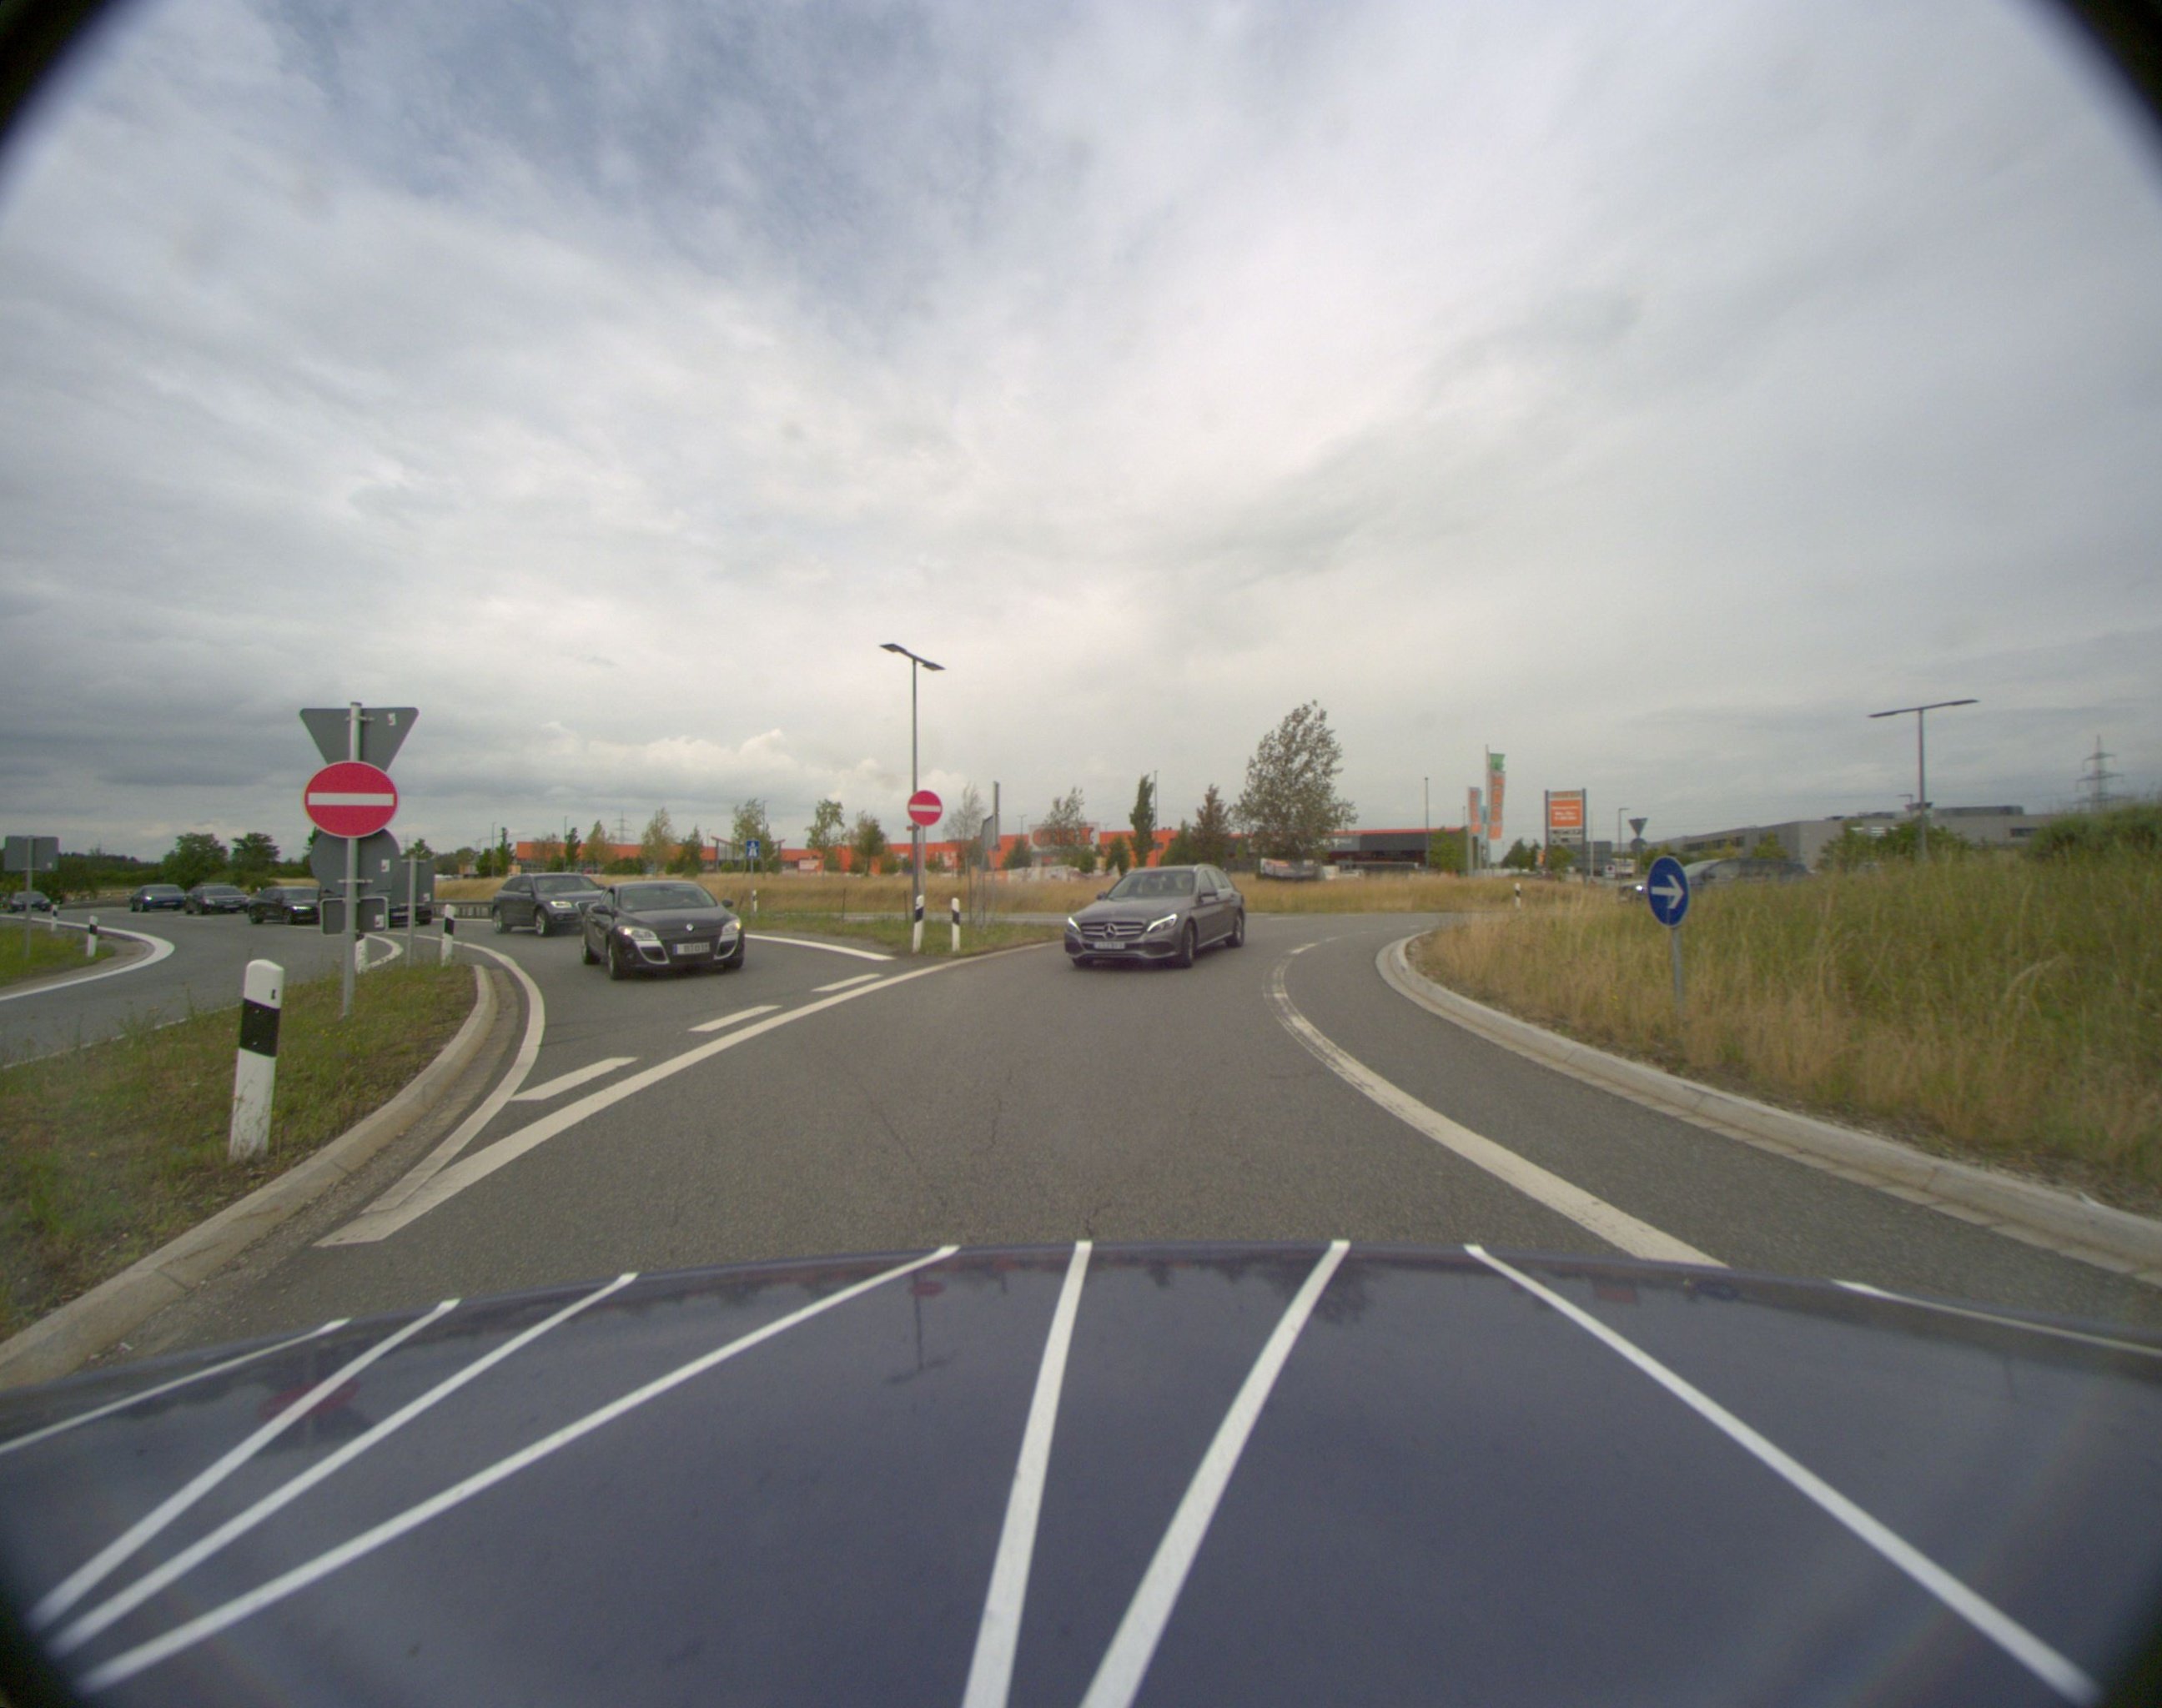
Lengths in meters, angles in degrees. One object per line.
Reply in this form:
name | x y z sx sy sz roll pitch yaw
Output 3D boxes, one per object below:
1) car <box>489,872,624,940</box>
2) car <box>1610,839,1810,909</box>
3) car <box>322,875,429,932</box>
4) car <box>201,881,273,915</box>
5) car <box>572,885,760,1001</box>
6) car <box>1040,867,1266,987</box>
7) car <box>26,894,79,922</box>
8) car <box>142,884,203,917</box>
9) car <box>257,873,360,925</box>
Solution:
car | -14.184 1.322 20.466 4.264 1.573 1.888 -2 0 40
car | 17.898 0.616 21.895 3.991 1.708 1.847 -4 -3 24
car | -24.169 1.633 25.981 4.732 1.711 1.726 -2 0 36
car | -44.779 2.306 40.312 3.989 1.654 1.767 -2 0 31
car | -6.642 1.229 11.939 1.847 1.362 4.134 -1 0 -39
car | 1.350 0.991 11.995 1.902 1.488 4.348 -2 -2 29
car | -73.693 3.828 54.436 3.989 1.871 1.766 -2 0 29
car | -55.638 2.840 46.505 3.989 1.871 1.767 -2 0 31
car | -30.652 1.759 30.141 3.990 1.871 1.810 -2 0 29
